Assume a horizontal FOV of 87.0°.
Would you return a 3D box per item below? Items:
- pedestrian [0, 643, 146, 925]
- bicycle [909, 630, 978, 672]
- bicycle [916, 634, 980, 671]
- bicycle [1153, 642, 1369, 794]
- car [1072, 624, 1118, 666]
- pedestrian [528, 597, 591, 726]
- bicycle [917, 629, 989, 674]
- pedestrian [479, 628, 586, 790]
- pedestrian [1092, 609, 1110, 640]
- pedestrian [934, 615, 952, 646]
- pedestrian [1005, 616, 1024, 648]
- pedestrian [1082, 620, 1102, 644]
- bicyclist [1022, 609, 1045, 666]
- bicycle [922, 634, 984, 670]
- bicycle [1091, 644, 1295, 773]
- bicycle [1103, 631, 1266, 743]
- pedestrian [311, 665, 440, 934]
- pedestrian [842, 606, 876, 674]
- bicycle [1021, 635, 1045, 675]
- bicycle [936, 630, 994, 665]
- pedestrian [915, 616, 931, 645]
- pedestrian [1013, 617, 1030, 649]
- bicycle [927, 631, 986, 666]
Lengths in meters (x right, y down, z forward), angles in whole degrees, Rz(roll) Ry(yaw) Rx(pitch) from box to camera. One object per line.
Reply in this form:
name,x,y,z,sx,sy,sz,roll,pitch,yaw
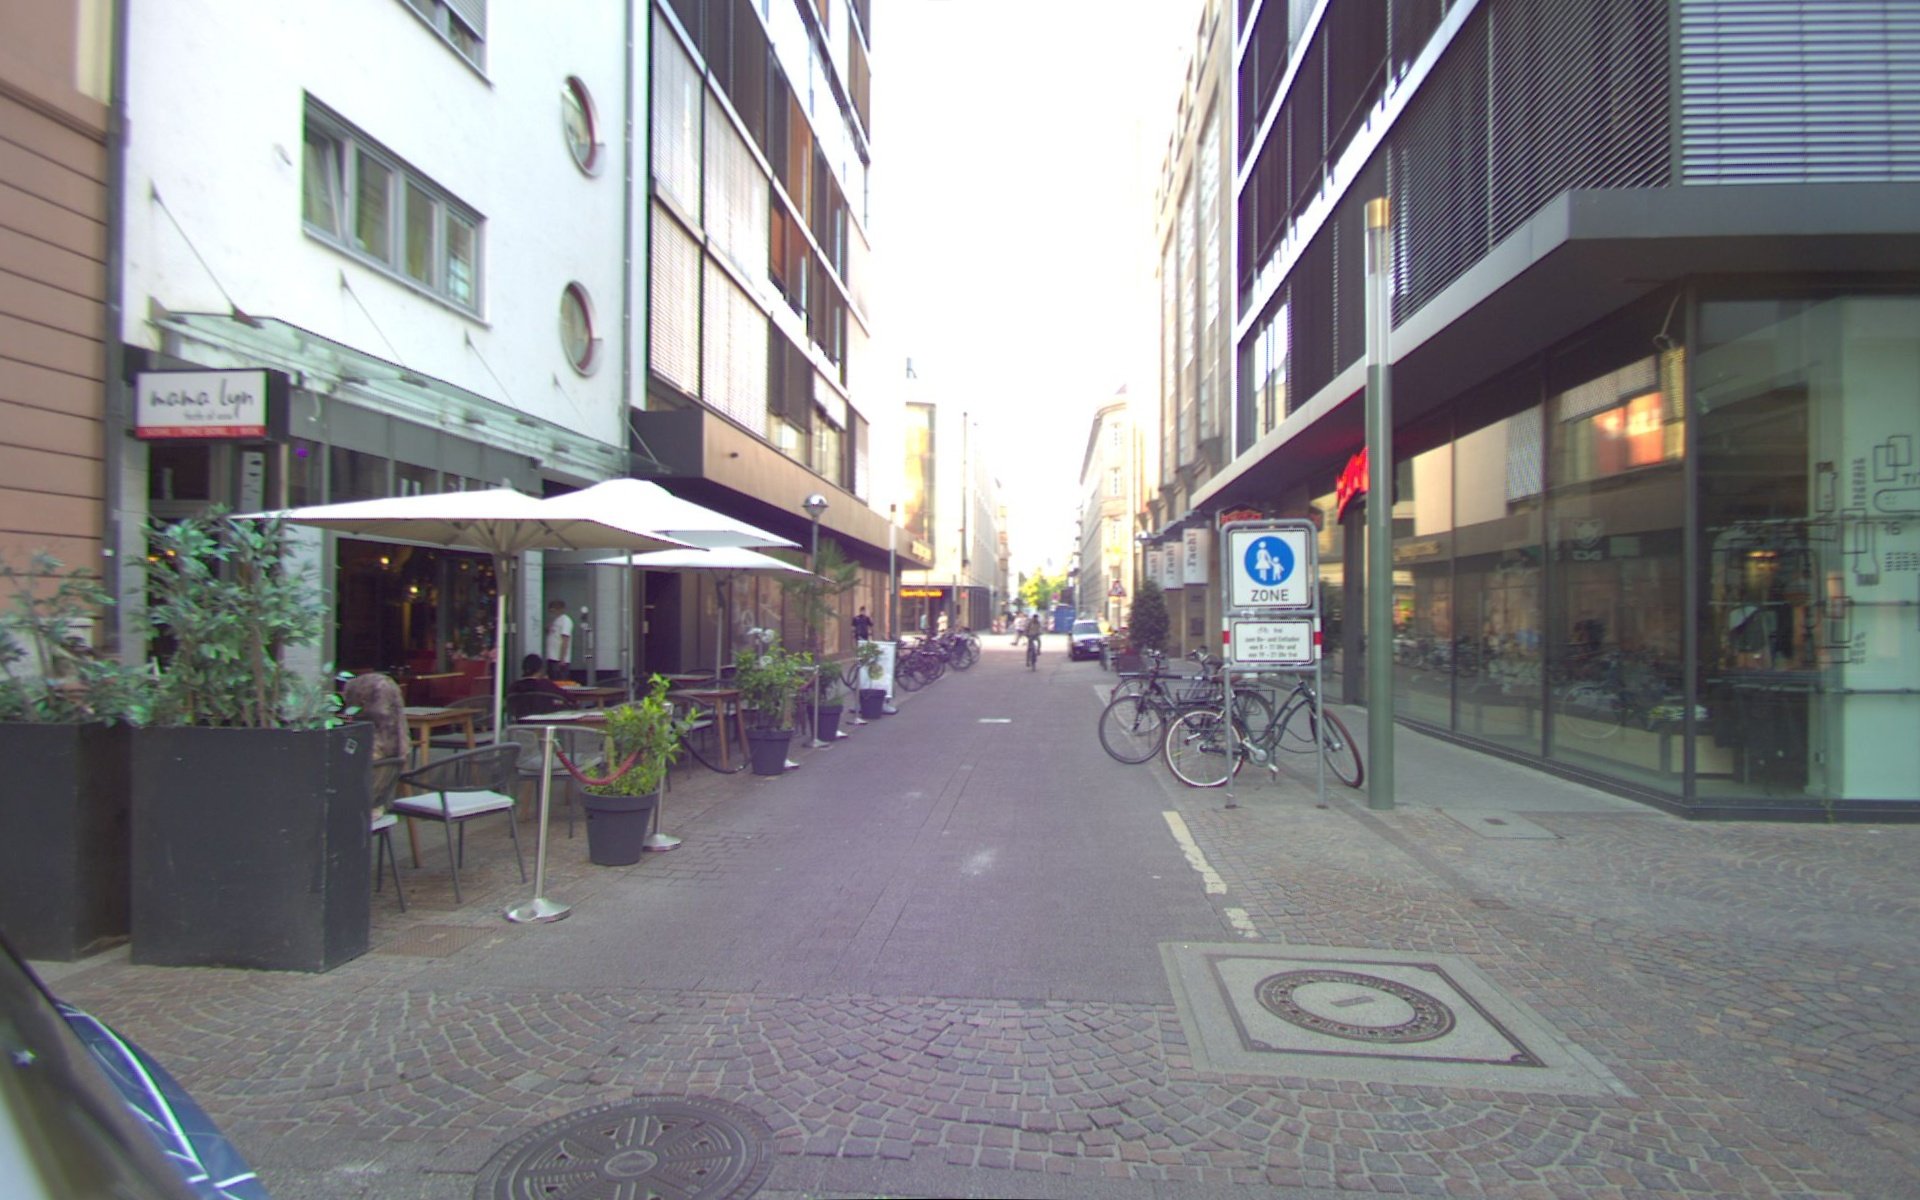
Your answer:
pedestrian,-4.418,0.875,5.034,0.357,1.315,0.496,0,-1,-9
bicycle,-0.494,1.563,31.163,2.014,1.176,0.618,3,-1,5
bicycle,-0.389,1.672,32.471,2.014,1.176,0.618,0,-1,5
bicycle,2.531,0.993,8.639,1.650,1.213,0.508,-2,-2,5
car,4.966,1.599,36.912,1.586,1.434,3.593,0,-1,9
pedestrian,-5.652,0.857,14.301,0.631,1.785,0.602,0,-1,1
bicycle,-0.186,1.508,29.713,2.014,1.176,0.665,3,-1,5
pedestrian,-3.993,0.985,9.501,0.569,1.431,0.866,0,-1,6
pedestrian,7.679,1.324,55.113,0.658,1.650,0.767,1,-1,-38
pedestrian,-0.923,1.647,55.168,0.626,1.633,0.784,1,-1,-43
pedestrian,2.785,1.652,51.927,0.769,1.633,0.638,1,-1,-17
pedestrian,8.646,2.098,66.340,0.977,1.584,0.921,1,-2,-41
bicyclist,2.189,1.122,30.248,0.667,1.683,0.868,0,-2,5
bicycle,-0.224,1.718,33.558,2.014,1.176,0.618,0,-1,5
bicycle,2.307,1.078,10.172,1.879,1.190,0.516,-2,-3,5
bicycle,2.809,1.090,12.810,1.880,1.279,0.537,-3,-2,6
pedestrian,-2.805,0.933,4.882,0.394,1.223,0.383,0,-1,-4
pedestrian,-2.750,1.086,27.630,0.794,1.850,0.673,0,-1,7
bicycle,2.186,1.623,30.220,0.691,1.137,2.002,0,-1,4
bicycle,0.173,1.670,35.758,2.014,1.225,0.618,0,-1,5
pedestrian,-1.999,1.630,54.779,0.630,1.536,0.779,0,-1,15
pedestrian,3.113,1.667,51.273,0.770,1.633,0.637,1,-1,-8
bicycle,-0.118,1.664,34.971,2.014,1.176,0.618,0,-1,5
